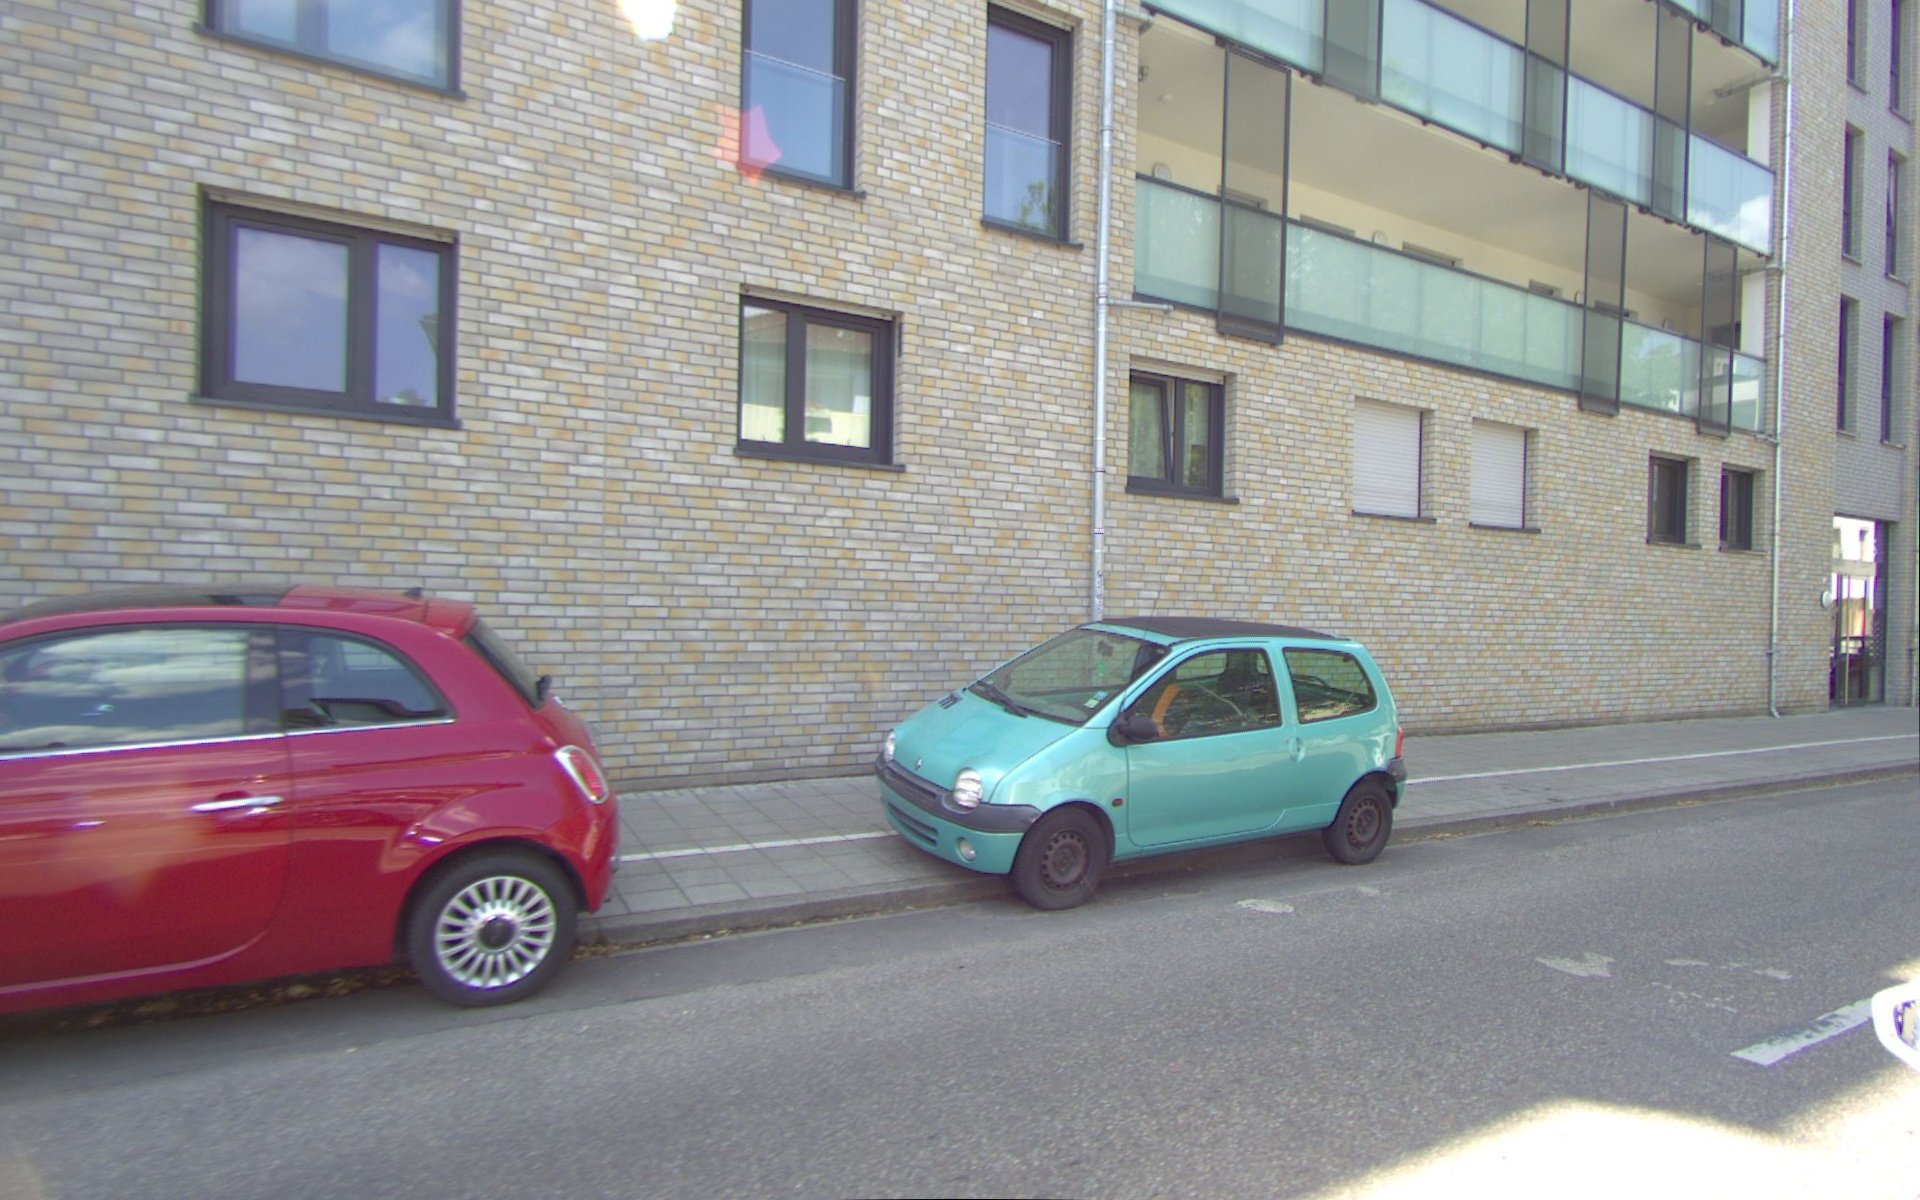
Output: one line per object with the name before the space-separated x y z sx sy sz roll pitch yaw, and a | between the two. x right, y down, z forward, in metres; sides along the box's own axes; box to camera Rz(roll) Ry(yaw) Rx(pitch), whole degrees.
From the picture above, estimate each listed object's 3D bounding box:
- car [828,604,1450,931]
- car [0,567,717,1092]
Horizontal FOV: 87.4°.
car | 1.189 0.835 6.311 3.659 1.476 1.583 2 1 -30
car | -2.917 0.688 3.889 3.528 1.574 1.583 2 0 -30
